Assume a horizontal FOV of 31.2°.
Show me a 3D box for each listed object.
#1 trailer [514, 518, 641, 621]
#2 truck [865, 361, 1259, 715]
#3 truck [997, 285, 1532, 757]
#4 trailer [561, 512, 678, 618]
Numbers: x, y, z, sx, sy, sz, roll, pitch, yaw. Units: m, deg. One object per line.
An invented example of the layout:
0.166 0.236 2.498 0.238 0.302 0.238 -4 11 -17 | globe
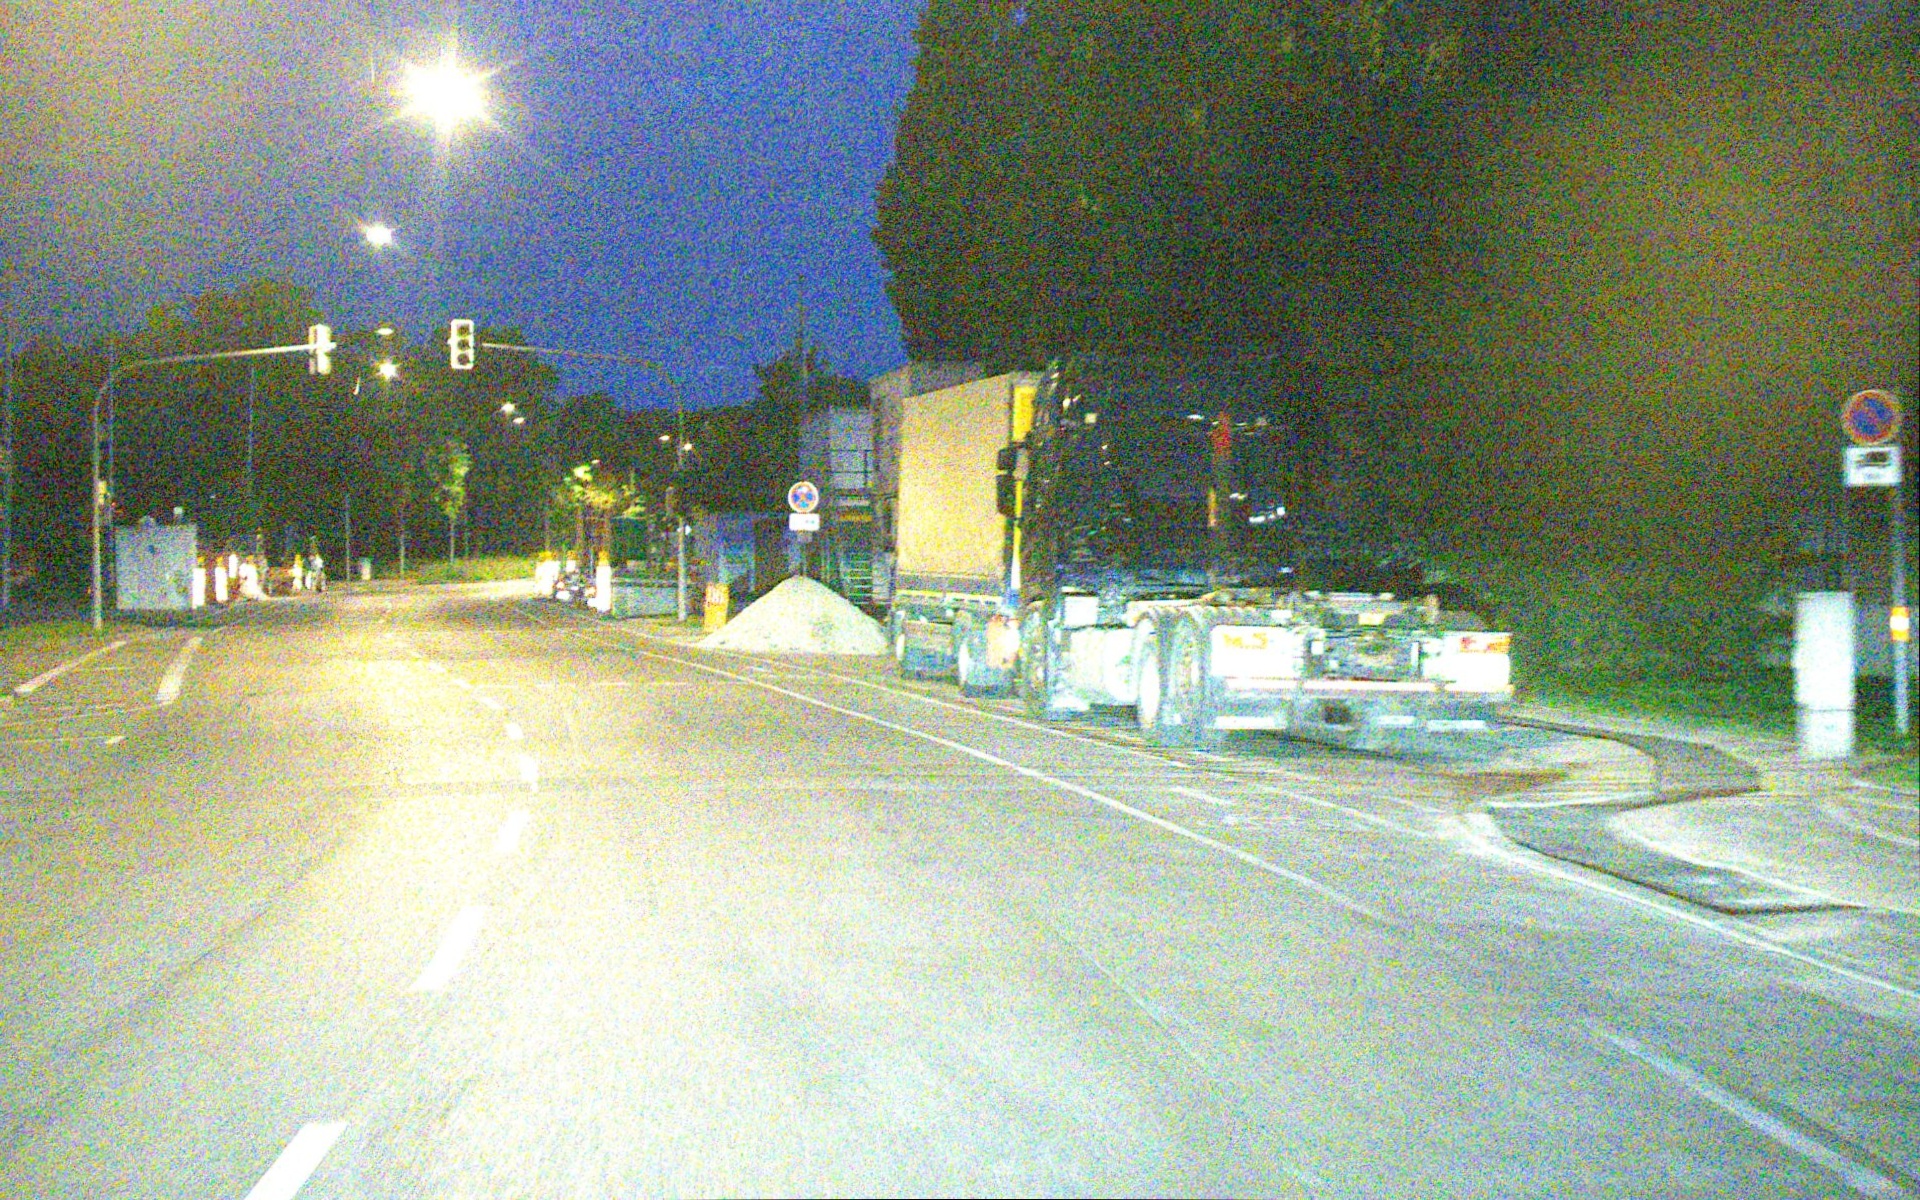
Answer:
-12.385 -0.964 110.906 3.480 3.208 4.866 1 0 -13 | trailer
0.972 -0.717 41.919 2.754 3.770 10.228 -1 1 -10 | truck
2.518 -0.685 32.144 2.754 3.770 9.139 -1 1 -9 | truck
-9.566 -0.960 96.219 2.613 2.836 4.710 1 0 -13 | trailer
